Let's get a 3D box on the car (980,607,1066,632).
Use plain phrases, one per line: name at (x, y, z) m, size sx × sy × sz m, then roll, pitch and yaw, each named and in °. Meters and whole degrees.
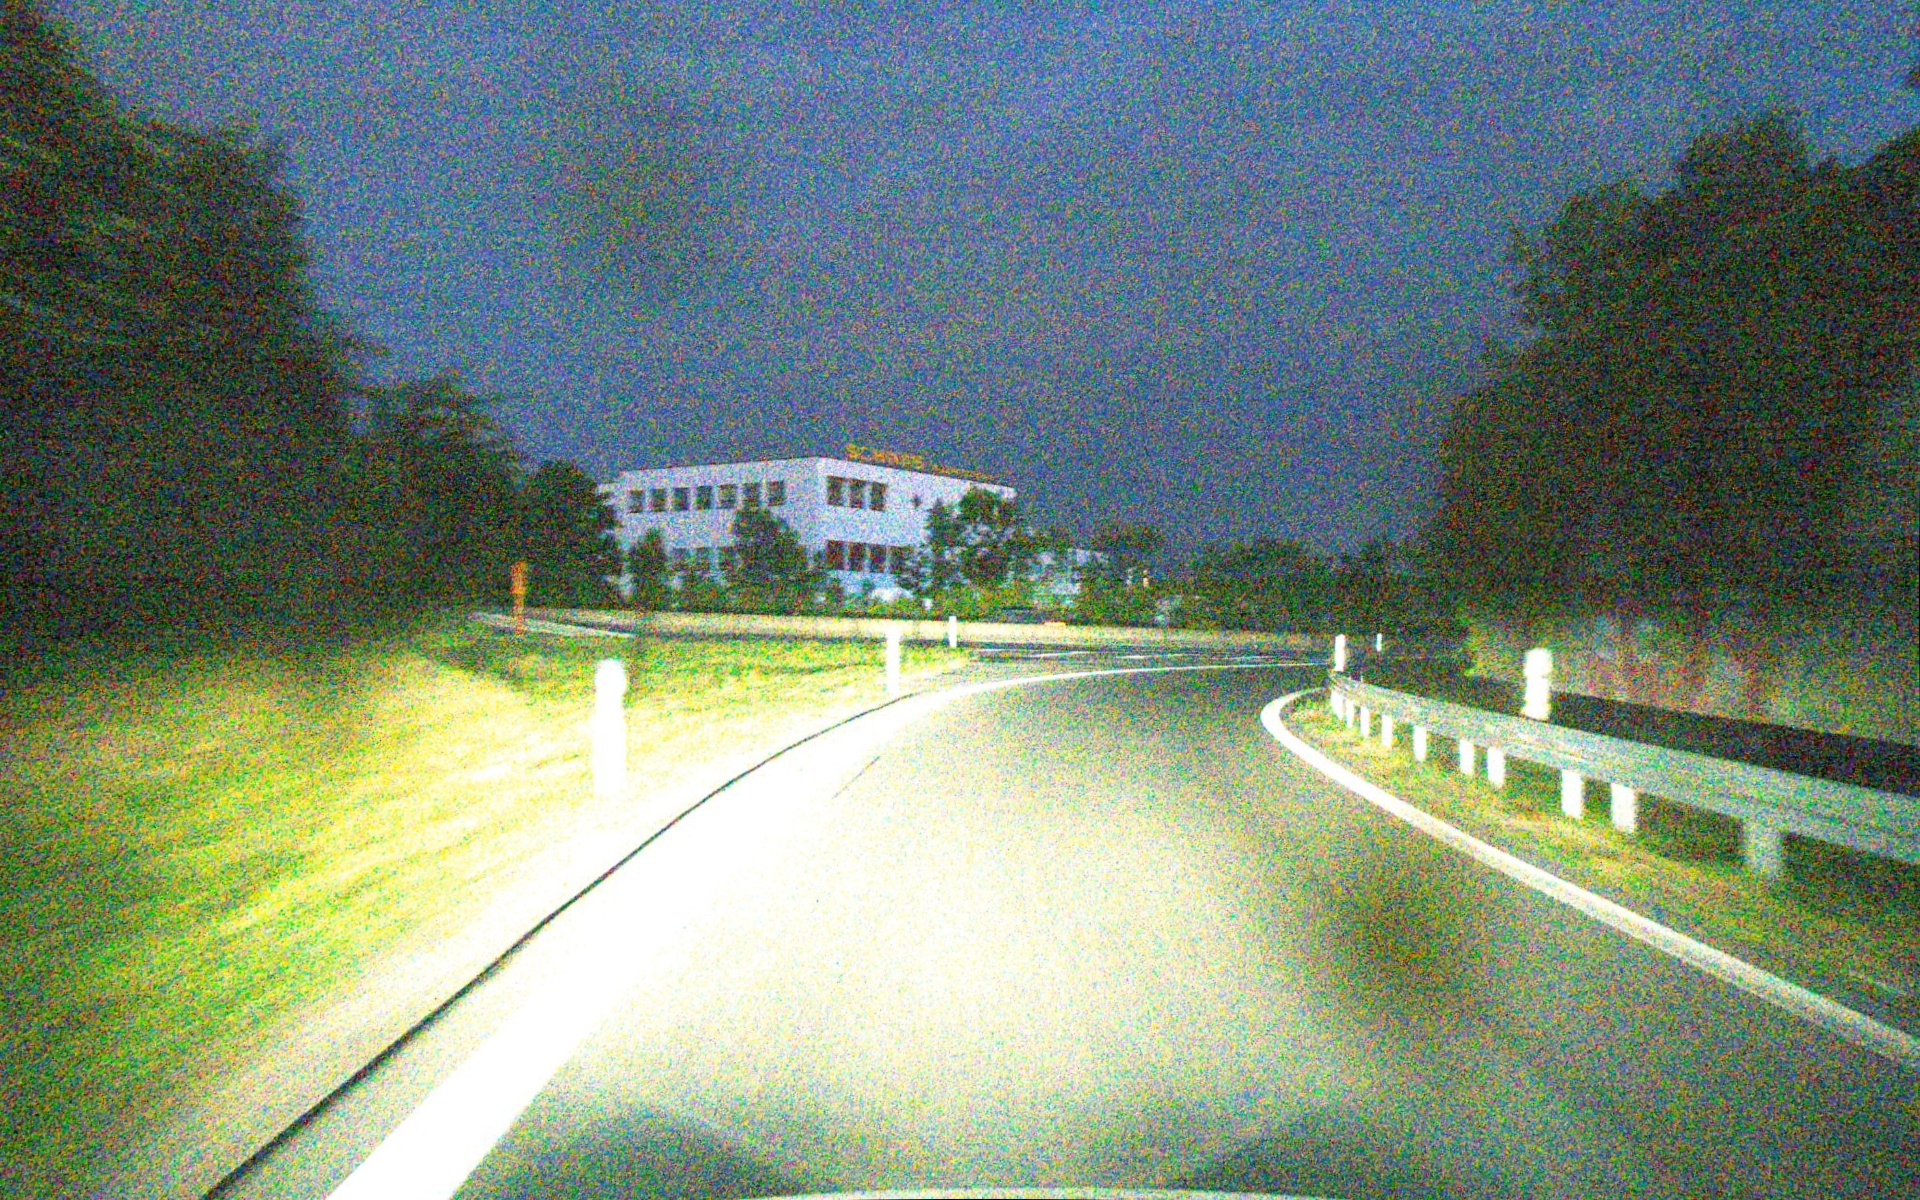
car at (3.045, 0.935, 79.235) m, size 3.949 × 1.077 × 1.547 m, roll 2°, pitch 0°, yaw -33°
